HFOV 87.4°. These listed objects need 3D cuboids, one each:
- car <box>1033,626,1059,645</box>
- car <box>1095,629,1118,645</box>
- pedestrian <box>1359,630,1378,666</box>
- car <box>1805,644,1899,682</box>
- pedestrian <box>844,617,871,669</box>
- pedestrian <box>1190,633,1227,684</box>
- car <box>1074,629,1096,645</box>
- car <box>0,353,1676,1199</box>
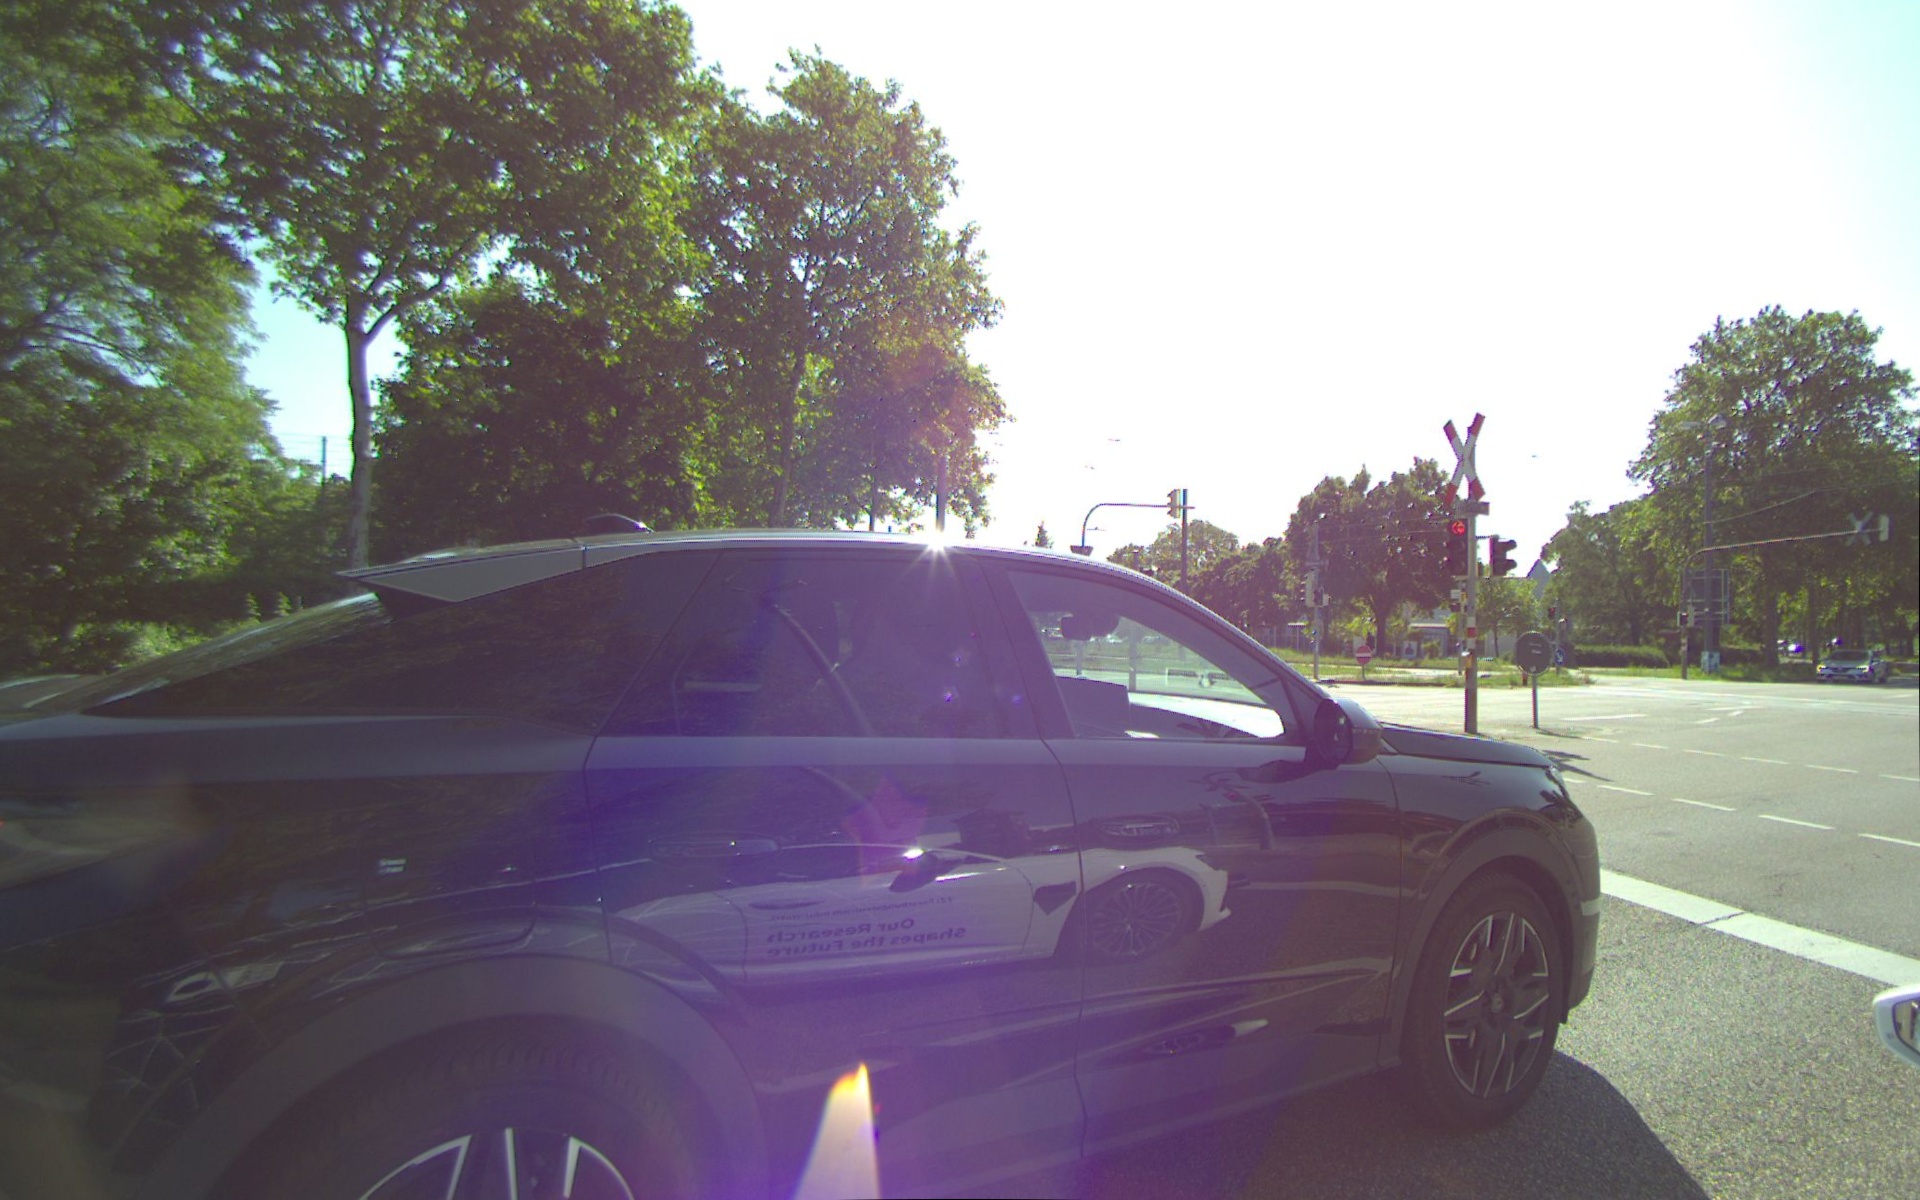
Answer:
[{"bbox_3d":[7.989,3.299,93.256,1.780,1.725,3.985,1,-2,-4],"label":"car"},{"bbox_3d":[13.605,3.453,93.663,1.421,1.465,3.340,1,-2,-4],"label":"car"},{"bbox_3d":[23.505,2.742,57.839,0.707,2.040,0.785,2,-2,-44],"label":"pedestrian"},{"bbox_3d":[38.412,2.687,43.244,4.606,1.528,1.686,2,-2,-30],"label":"car"},{"bbox_3d":[-3.142,1.309,30.710,0.563,1.554,0.601,2,-2,-36],"label":"pedestrian"},{"bbox_3d":[7.669,1.801,31.026,0.857,1.520,0.695,1,-2,-24],"label":"pedestrian"},{"bbox_3d":[11.624,3.421,93.577,1.323,1.465,3.340,1,-2,-4],"label":"car"},{"bbox_3d":[-0.026,0.612,2.969,4.384,1.719,1.863,2,-1,-30],"label":"car"}]
